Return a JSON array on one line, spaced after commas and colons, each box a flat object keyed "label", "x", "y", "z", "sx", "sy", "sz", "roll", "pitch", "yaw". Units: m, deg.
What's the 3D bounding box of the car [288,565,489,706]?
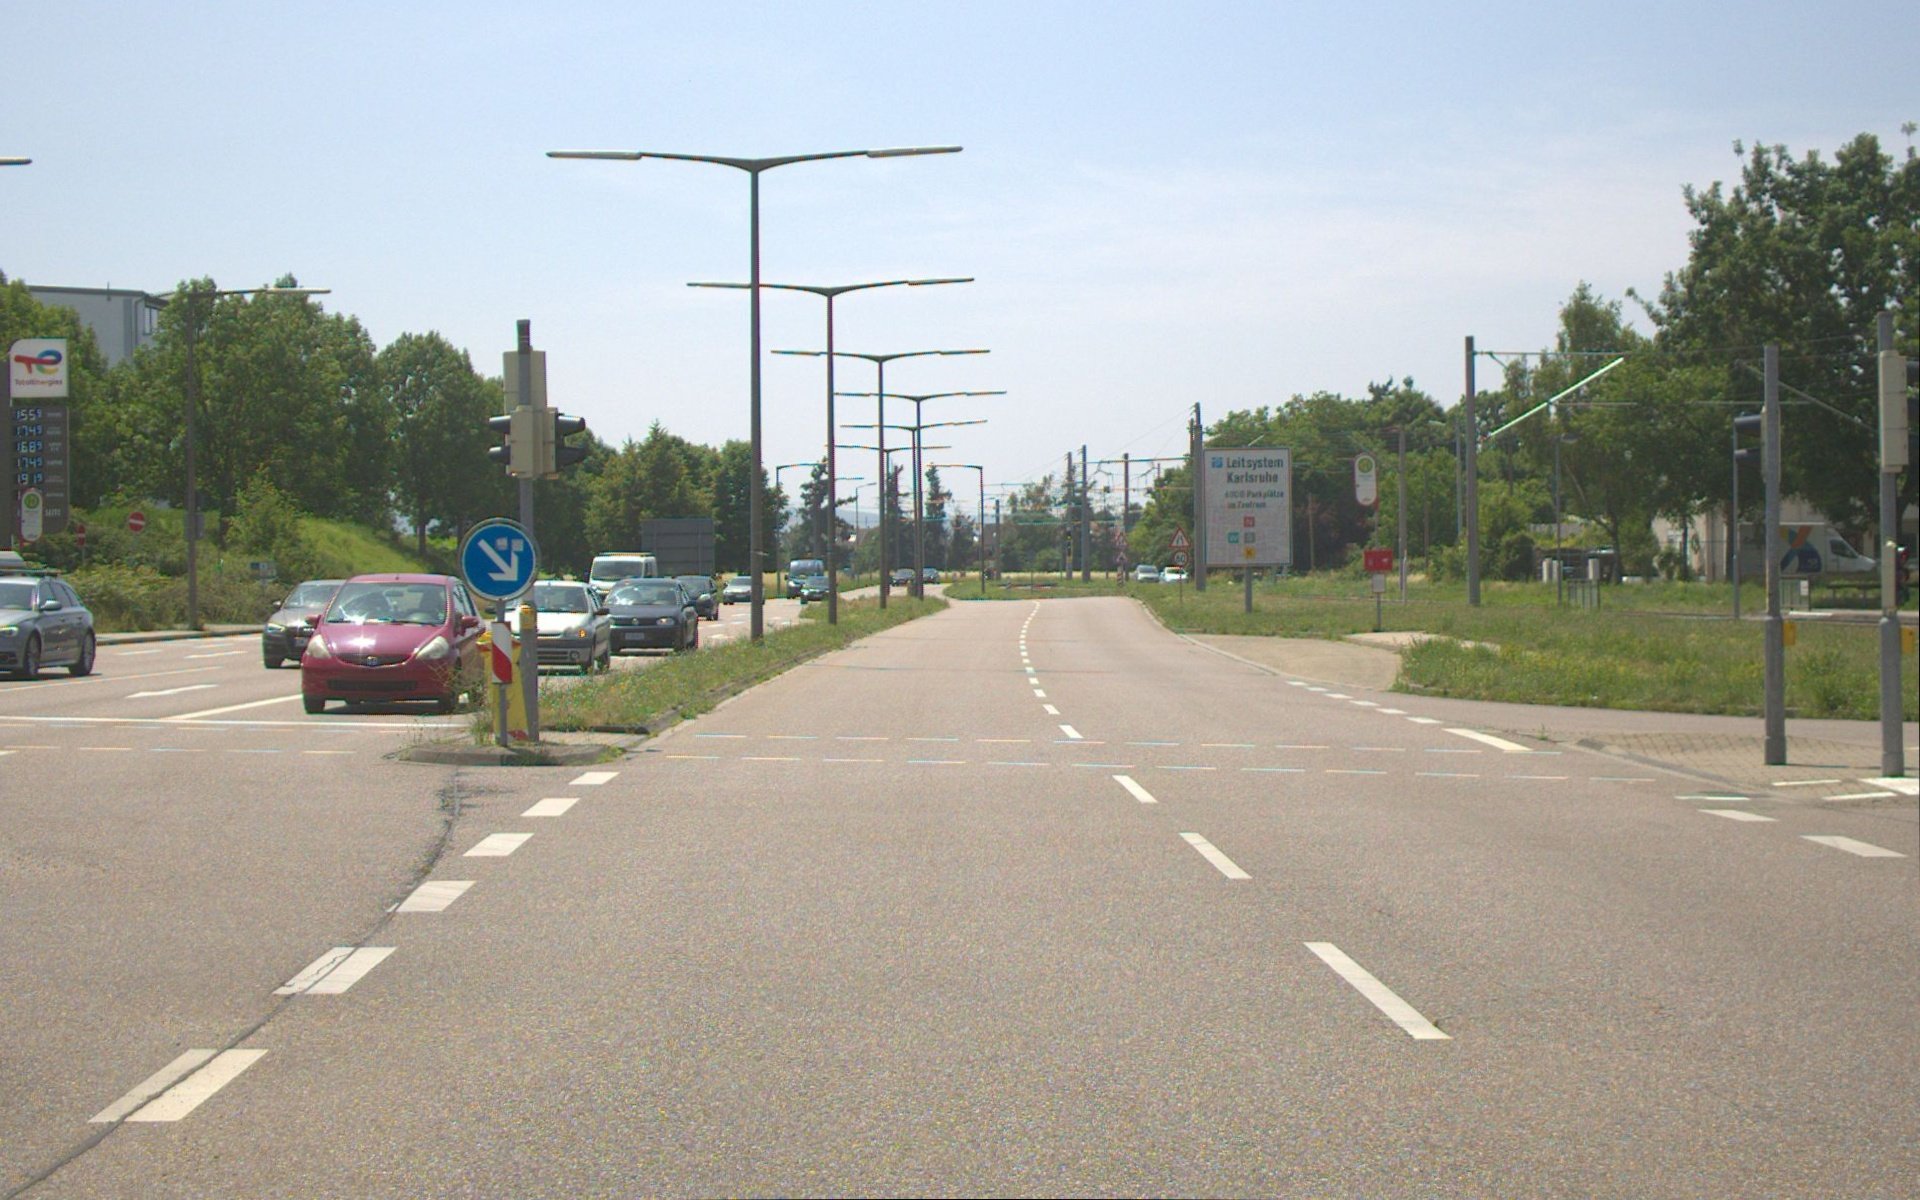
[{"label": "car", "x": -6.348, "y": 0.360, "z": 38.560, "sx": 1.658, "sy": 1.485, "sz": 4.000, "roll": 0, "pitch": 1, "yaw": -1}]

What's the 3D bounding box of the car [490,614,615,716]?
[{"label": "car", "x": -6.273, "y": 0.983, "z": 53.229, "sx": 1.560, "sy": 1.418, "sz": 3.854, "roll": 0, "pitch": 1, "yaw": -1}]

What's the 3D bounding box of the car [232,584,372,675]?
[{"label": "car", "x": -10.711, "y": 0.457, "z": 56.180, "sx": 1.596, "sy": 1.380, "sz": 4.004, "roll": 1, "pitch": 1, "yaw": -1}]

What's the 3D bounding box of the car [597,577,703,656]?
[{"label": "car", "x": -5.845, "y": 0.298, "z": 65.232, "sx": 1.675, "sy": 1.429, "sz": 4.191, "roll": 0, "pitch": 1, "yaw": -1}]

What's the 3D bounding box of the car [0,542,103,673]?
[{"label": "car", "x": -13.663, "y": 0.078, "z": 48.551, "sx": 1.964, "sy": 1.744, "sz": 5.022, "roll": 0, "pitch": 1, "yaw": -1}]

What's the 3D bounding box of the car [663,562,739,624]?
[{"label": "car", "x": -8.585, "y": -0.216, "z": 114.120, "sx": 1.994, "sy": 2.007, "sz": 3.999, "roll": 1, "pitch": 0, "yaw": 3}]

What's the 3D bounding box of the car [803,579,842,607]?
[{"label": "car", "x": -7.222, "y": -0.373, "z": 181.174, "sx": 1.731, "sy": 1.453, "sz": 4.564, "roll": -1, "pitch": 1, "yaw": 1}]

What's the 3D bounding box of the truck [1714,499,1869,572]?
[{"label": "truck", "x": 35.081, "y": -2.730, "z": 145.144, "sx": 5.839, "sy": 2.834, "sz": 2.321, "roll": -2, "pitch": 0, "yaw": -7}]

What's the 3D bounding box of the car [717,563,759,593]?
[{"label": "car", "x": -11.165, "y": -1.127, "z": 172.911, "sx": 1.831, "sy": 1.444, "sz": 4.851, "roll": -1, "pitch": 1, "yaw": 0}]

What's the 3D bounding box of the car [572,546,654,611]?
[{"label": "car", "x": -12.387, "y": -0.769, "z": 122.972, "sx": 2.249, "sy": 2.265, "sz": 5.449, "roll": 1, "pitch": 0, "yaw": 1}]
